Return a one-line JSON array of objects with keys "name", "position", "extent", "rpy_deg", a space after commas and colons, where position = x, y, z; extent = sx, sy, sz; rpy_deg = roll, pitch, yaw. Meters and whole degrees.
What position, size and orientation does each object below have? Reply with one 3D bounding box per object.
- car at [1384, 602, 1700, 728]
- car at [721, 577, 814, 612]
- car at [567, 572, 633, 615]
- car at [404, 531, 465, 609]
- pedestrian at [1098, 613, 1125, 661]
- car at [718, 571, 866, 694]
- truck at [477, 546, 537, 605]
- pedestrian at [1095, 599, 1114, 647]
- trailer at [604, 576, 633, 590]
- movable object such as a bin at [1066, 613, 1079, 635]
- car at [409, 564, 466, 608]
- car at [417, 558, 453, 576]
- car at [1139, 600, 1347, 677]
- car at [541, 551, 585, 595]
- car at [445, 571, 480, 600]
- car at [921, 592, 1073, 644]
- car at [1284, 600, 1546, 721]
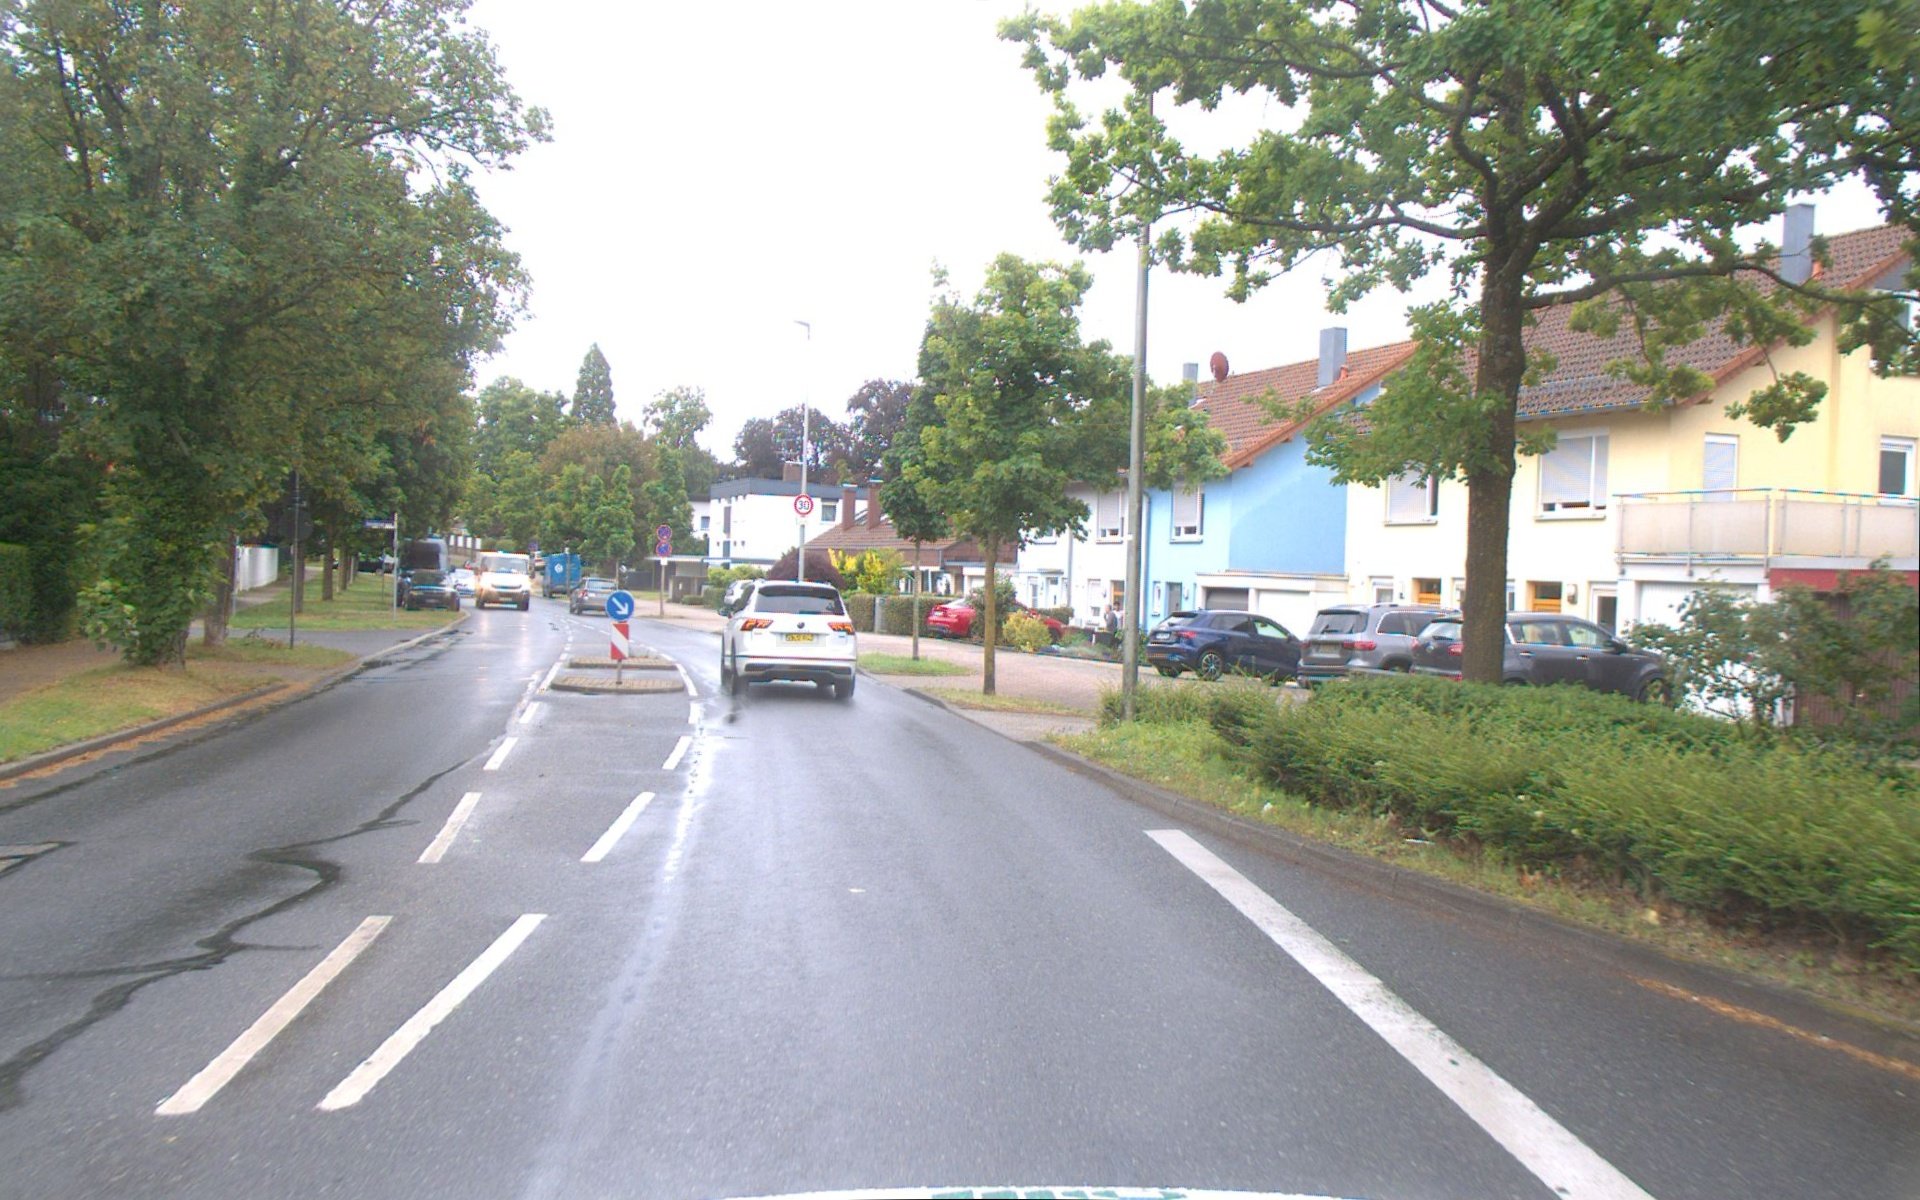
[{"name": "car", "position": [8.712, 0.969, 24.823], "extent": [4.116, 1.701, 1.981], "rpy_deg": [2, 0, -19]}, {"name": "car", "position": [-8.940, -0.255, 76.895], "extent": [3.931, 1.467, 1.835], "rpy_deg": [2, 0, -22]}, {"name": "car", "position": [-14.193, -0.276, 65.039], "extent": [1.745, 1.578, 3.971], "rpy_deg": [2, 0, -23]}, {"name": "car", "position": [-20.449, -1.197, 64.207], "extent": [1.964, 2.776, 5.905], "rpy_deg": [4, 0, -19]}, {"name": "pedestrian", "position": [4.456, 1.079, 48.638], "extent": [0.530, 1.374, 0.523], "rpy_deg": [2, 0, -33]}, {"name": "car", "position": [-2.624, 0.442, 25.092], "extent": [1.832, 1.679, 3.989], "rpy_deg": [1, 0, -11]}, {"name": "truck", "position": [-18.724, -1.008, 68.454], "extent": [2.181, 2.242, 6.438], "rpy_deg": [3, 0, -15]}, {"name": "pedestrian", "position": [4.294, 0.678, 49.193], "extent": [0.485, 1.374, 0.565], "rpy_deg": [2, 0, 2]}, {"name": "trailer", "position": [-25.870, -1.299, 125.123], "extent": [2.010, 0.898, 1.358], "rpy_deg": [4, 0, -17]}, {"name": "movable object such as a bin", "position": [3.231, 0.686, 47.489], "extent": [0.252, 0.637, 0.323], "rpy_deg": [2, 0, -19]}, {"name": "car", "position": [-18.366, -0.510, 58.055], "extent": [1.697, 1.433, 3.803], "rpy_deg": [2, 0, -20]}, {"name": "car", "position": [-49.560, -3.097, 156.087], "extent": [1.634, 1.452, 3.939], "rpy_deg": [3, 1, -43]}, {"name": "car", "position": [5.823, 0.784, 34.086], "extent": [3.932, 1.411, 1.663], "rpy_deg": [2, 0, -23]}, {"name": "car", "position": [-24.383, -1.669, 101.477], "extent": [1.964, 2.631, 5.601], "rpy_deg": [0, 1, -20]}, {"name": "car", "position": [-27.227, -0.787, 90.446], "extent": [1.571, 1.489, 3.431], "rpy_deg": [2, 0, -21]}, {"name": "car", "position": [1.115, 0.536, 49.387], "extent": [4.258, 1.282, 1.663], "rpy_deg": [4, 0, -30]}, {"name": "car", "position": [7.659, 1.026, 27.763], "extent": [4.130, 1.700, 1.707], "rpy_deg": [5, -1, -28]}]
